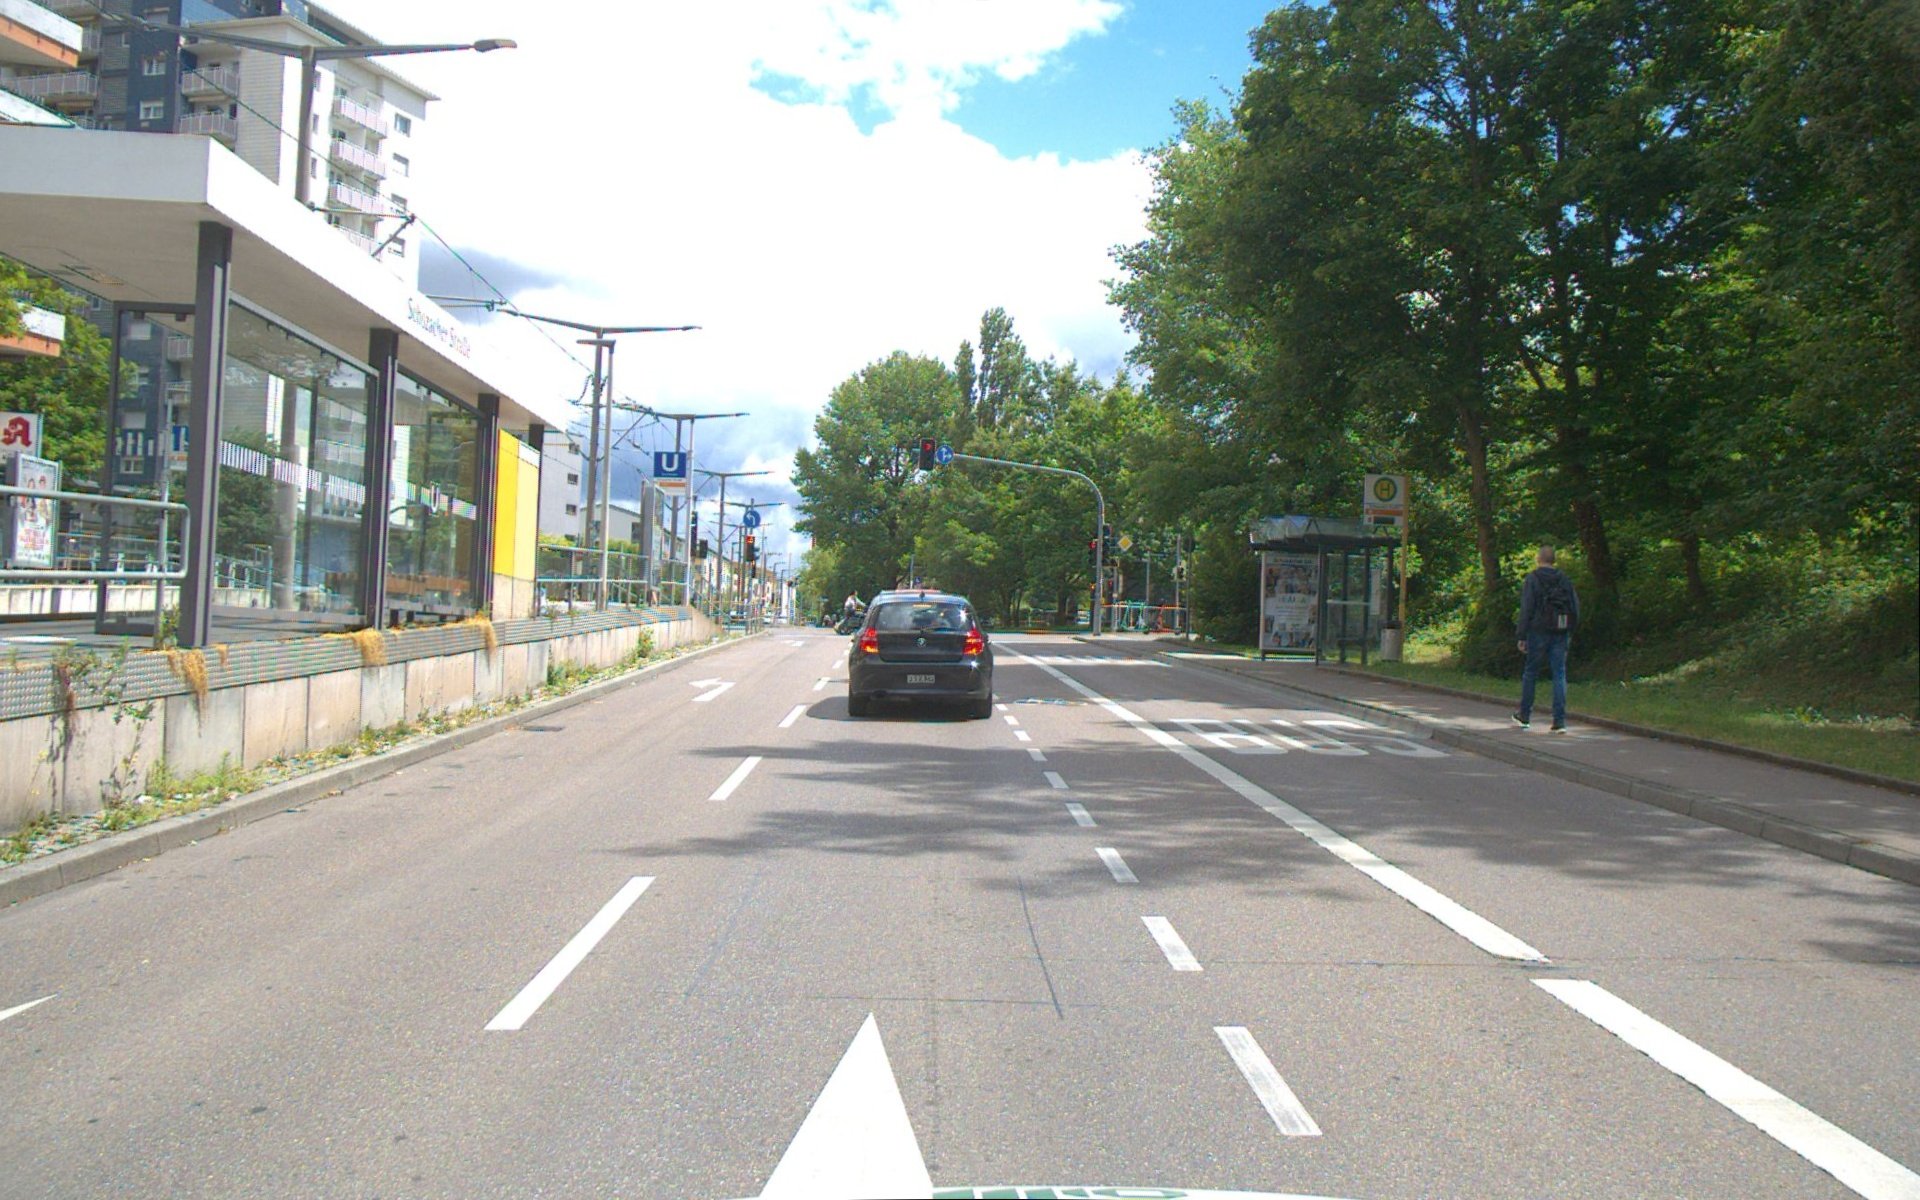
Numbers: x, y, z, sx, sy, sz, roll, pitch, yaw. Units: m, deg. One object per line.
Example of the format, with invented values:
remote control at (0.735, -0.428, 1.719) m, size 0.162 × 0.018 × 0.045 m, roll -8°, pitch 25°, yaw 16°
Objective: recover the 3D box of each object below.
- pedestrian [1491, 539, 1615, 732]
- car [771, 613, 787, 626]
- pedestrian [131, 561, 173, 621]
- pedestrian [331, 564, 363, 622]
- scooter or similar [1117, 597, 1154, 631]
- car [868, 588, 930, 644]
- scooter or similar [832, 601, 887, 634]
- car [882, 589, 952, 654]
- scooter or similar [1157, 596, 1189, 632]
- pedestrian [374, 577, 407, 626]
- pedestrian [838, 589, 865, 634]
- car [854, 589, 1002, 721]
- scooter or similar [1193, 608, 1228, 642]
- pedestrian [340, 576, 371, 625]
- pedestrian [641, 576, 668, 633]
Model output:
pedestrian at (6.201, 0.355, 17.357) m, size 0.785 × 1.928 × 1.270 m, roll 2°, pitch 0°, yaw -1°
car at (-24.026, 2.616, 220.031) m, size 1.928 × 1.624 × 3.997 m, roll 1°, pitch 0°, yaw -4°
pedestrian at (-23.724, -0.272, 48.586) m, size 0.839 × 1.726 × 0.690 m, roll 1°, pitch 0°, yaw 14°
pedestrian at (-17.551, -0.201, 47.366) m, size 0.595 × 1.611 × 0.775 m, roll 1°, pitch 0°, yaw 2°
scooter or similar at (6.237, 0.506, 58.799) m, size 1.268 × 1.210 × 0.383 m, roll 1°, pitch 0°, yaw -18°
car at (-1.733, 0.413, 45.829) m, size 1.621 × 1.443 × 3.514 m, roll 1°, pitch 0°, yaw -3°
scooter or similar at (-3.293, 0.580, 54.090) m, size 1.752 × 1.069 × 0.408 m, roll 1°, pitch 0°, yaw -18°
car at (-1.003, 0.474, 39.122) m, size 1.562 × 1.443 × 3.516 m, roll 1°, pitch 0°, yaw -1°
scooter or similar at (7.681, 0.517, 59.709) m, size 1.088 × 1.280 × 0.331 m, roll 1°, pitch 0°, yaw -14°
pedestrian at (-16.165, 0.036, 46.924) m, size 0.680 × 1.366 × 0.851 m, roll 1°, pitch 0°, yaw -32°
pedestrian at (-3.588, 0.368, 54.654) m, size 0.847 × 1.468 × 0.798 m, roll 1°, pitch 0°, yaw -3°
car at (-0.356, 0.601, 20.183) m, size 1.620 × 1.443 × 3.517 m, roll 1°, pitch 0°, yaw 0°
scooter or similar at (8.261, 0.819, 54.473) m, size 1.134 × 1.118 × 0.329 m, roll 1°, pitch 0°, yaw -26°
pedestrian at (-16.930, 0.019, 46.312) m, size 0.656 × 1.366 × 0.552 m, roll 1°, pitch 0°, yaw 40°
pedestrian at (-8.924, 0.138, 48.336) m, size 0.686 × 1.661 × 0.638 m, roll 0°, pitch 0°, yaw -2°
